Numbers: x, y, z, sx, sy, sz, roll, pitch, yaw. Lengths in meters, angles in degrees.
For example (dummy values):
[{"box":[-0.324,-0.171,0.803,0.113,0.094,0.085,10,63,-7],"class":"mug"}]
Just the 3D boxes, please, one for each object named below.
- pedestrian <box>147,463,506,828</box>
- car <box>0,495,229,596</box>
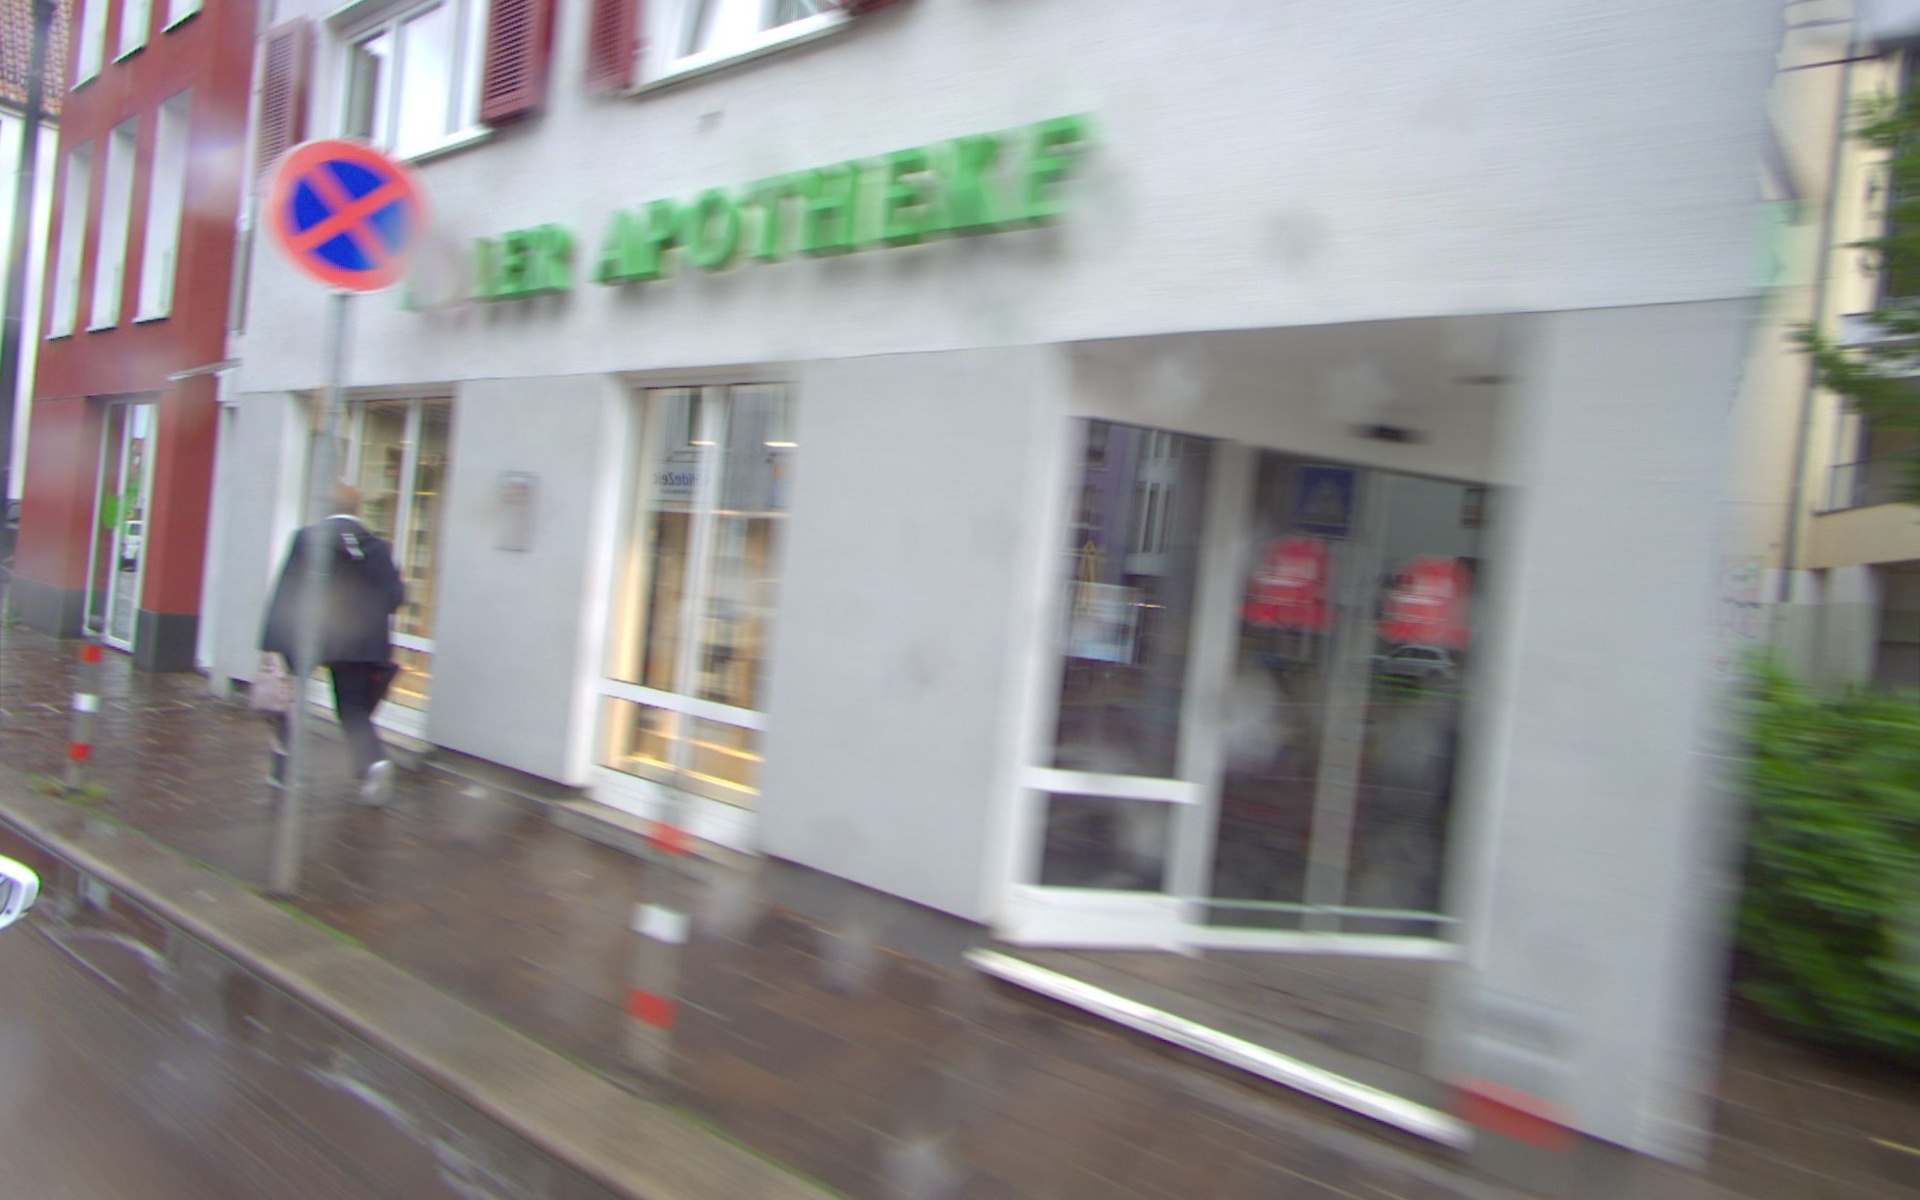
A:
[{"box":[-3.473,0.208,5.578,1.157,1.719,1.179,6,1,28],"class":"pedestrian"},{"box":[-16.302,-0.991,18.764,1.886,1.533,3.978,4,-1,41],"class":"car"}]
